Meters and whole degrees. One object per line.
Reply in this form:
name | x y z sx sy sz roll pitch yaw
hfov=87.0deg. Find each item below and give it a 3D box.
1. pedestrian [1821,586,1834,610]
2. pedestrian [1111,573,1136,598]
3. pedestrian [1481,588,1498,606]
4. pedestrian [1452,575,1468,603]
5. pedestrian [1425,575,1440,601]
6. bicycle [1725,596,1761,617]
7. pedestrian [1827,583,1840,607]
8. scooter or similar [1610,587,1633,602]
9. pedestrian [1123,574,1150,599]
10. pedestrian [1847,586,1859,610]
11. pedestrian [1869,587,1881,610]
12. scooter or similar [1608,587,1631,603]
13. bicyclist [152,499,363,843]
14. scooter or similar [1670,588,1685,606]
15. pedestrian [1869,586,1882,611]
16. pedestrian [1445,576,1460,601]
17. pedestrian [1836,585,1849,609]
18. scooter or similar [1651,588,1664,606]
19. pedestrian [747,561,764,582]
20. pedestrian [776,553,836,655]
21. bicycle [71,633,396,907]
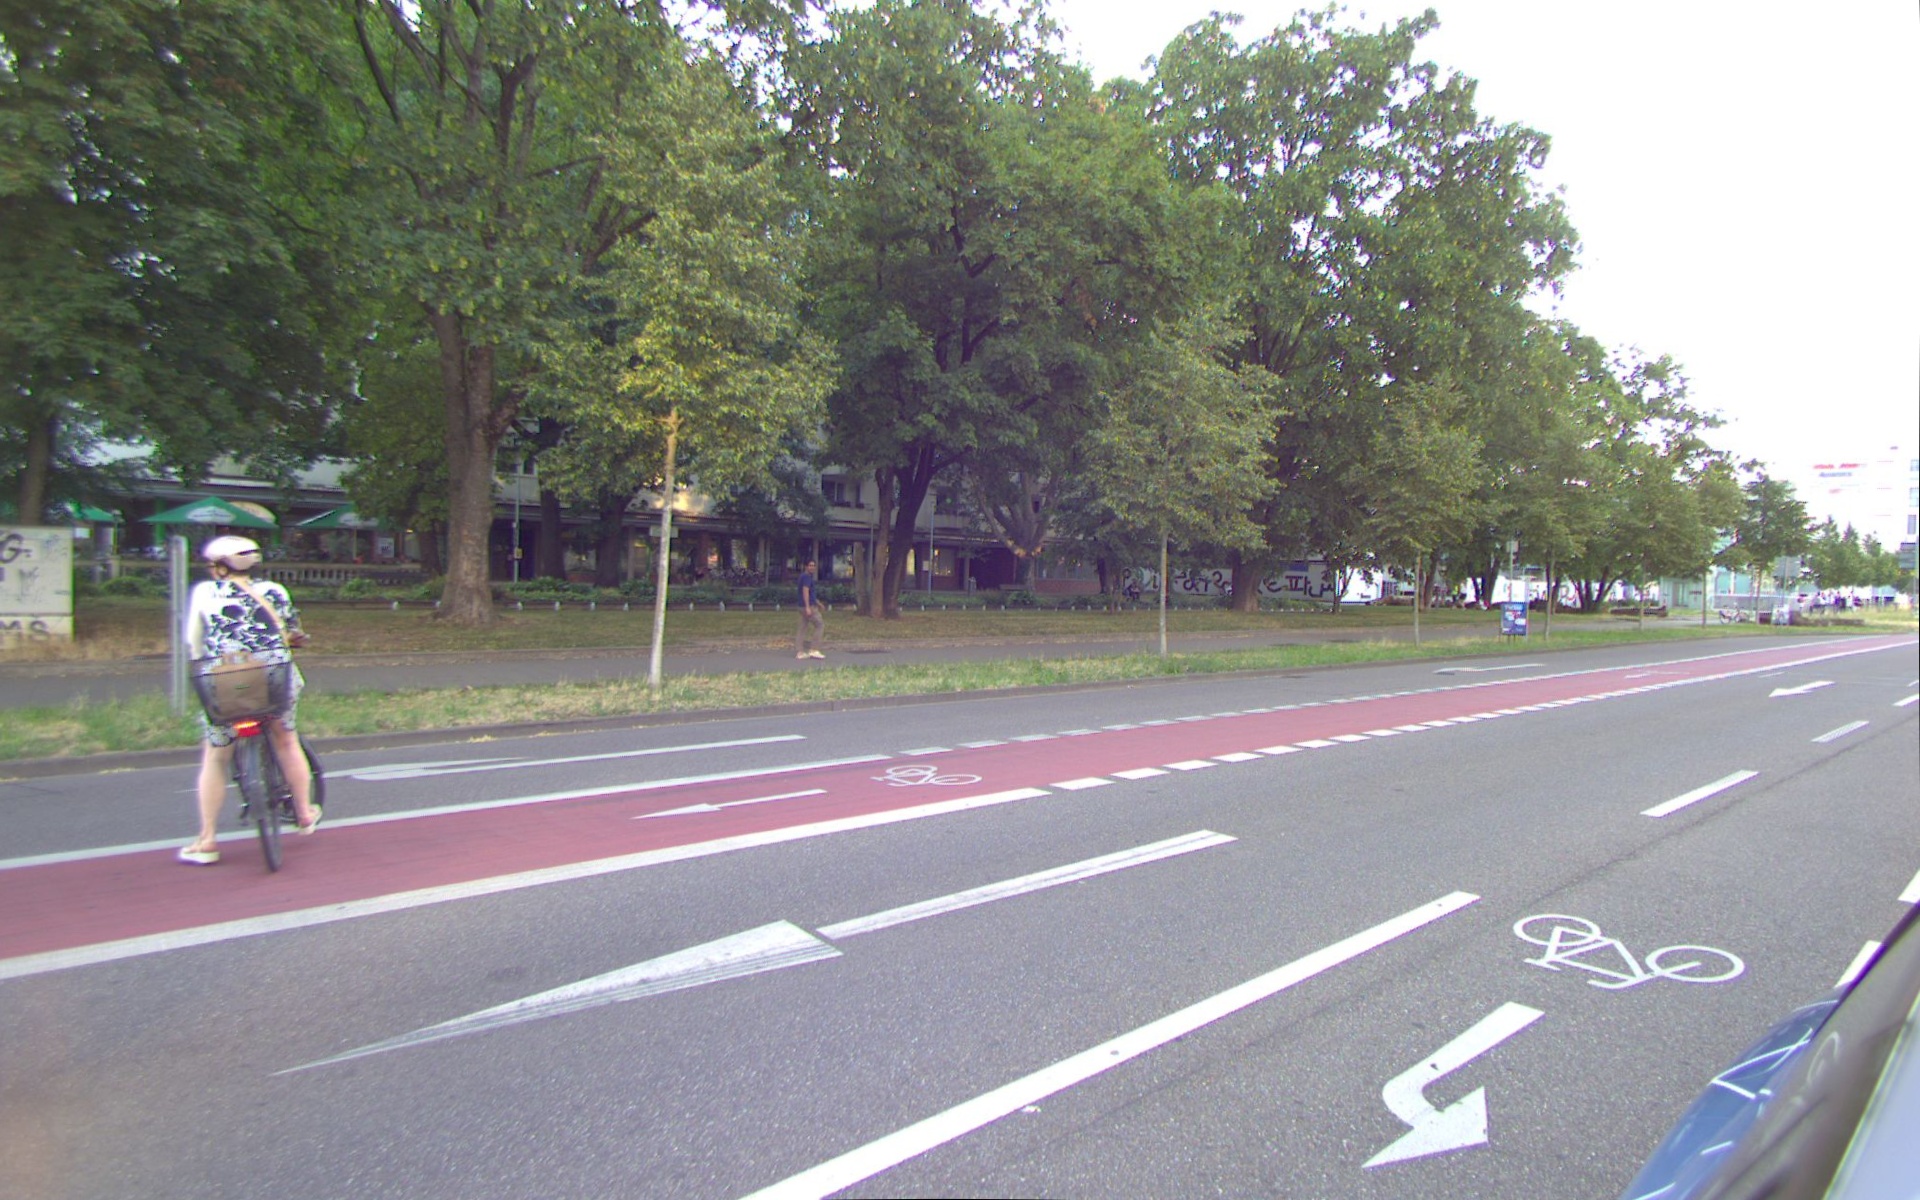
pedestrian | 71.245 -0.168 83.124 0.608 1.957 0.644 1 2 -38
pedestrian | 8.714 -0.757 53.892 0.712 1.276 1.135 1 2 -38
pedestrian | 26.366 -0.154 50.382 0.674 0.895 0.588 2 2 25
pedestrian | 36.076 -0.793 73.035 0.587 1.943 0.771 1 1 -25
pedestrian | 35.049 -0.908 75.100 0.587 1.879 0.771 1 1 -25
bicycle | 40.629 0.357 52.533 1.858 1.017 0.497 2 4 -21
pedestrian | 74.020 -0.434 85.731 0.608 1.957 0.644 1 2 -38
scooter or similar | 55.297 -0.442 84.600 0.466 1.236 1.571 0 1 -42
pedestrian | 9.483 -0.742 54.427 0.889 1.276 1.135 0 2 -38
pedestrian | 76.374 -0.182 86.551 0.608 1.957 0.644 1 2 -38
pedestrian | 77.434 -0.133 85.643 0.608 1.957 0.644 1 2 -38
scooter or similar | 54.736 -0.425 84.021 0.466 1.236 1.571 0 1 -42
bicyclist | -3.758 0.345 5.477 0.700 1.714 0.750 1 1 -13
scooter or similar | 50.305 -0.209 70.965 1.374 1.235 0.425 1 4 -40
pedestrian | 72.764 -0.145 80.437 0.608 1.957 0.644 1 2 -40
pedestrian | 36.359 -0.830 74.719 0.587 1.843 0.771 1 1 -25
pedestrian | 71.800 -0.249 82.354 0.608 1.957 0.644 1 2 -38
scooter or similar | 49.497 -0.248 71.814 0.473 1.235 1.550 6 4 43
pedestrian | -11.917 -1.679 59.030 0.687 1.178 0.788 1 2 -38
pedestrian | -2.649 0.053 17.444 0.736 1.714 0.696 0 2 -42
bicycle | -3.777 0.779 5.498 0.715 1.082 2.026 0 1 -13
